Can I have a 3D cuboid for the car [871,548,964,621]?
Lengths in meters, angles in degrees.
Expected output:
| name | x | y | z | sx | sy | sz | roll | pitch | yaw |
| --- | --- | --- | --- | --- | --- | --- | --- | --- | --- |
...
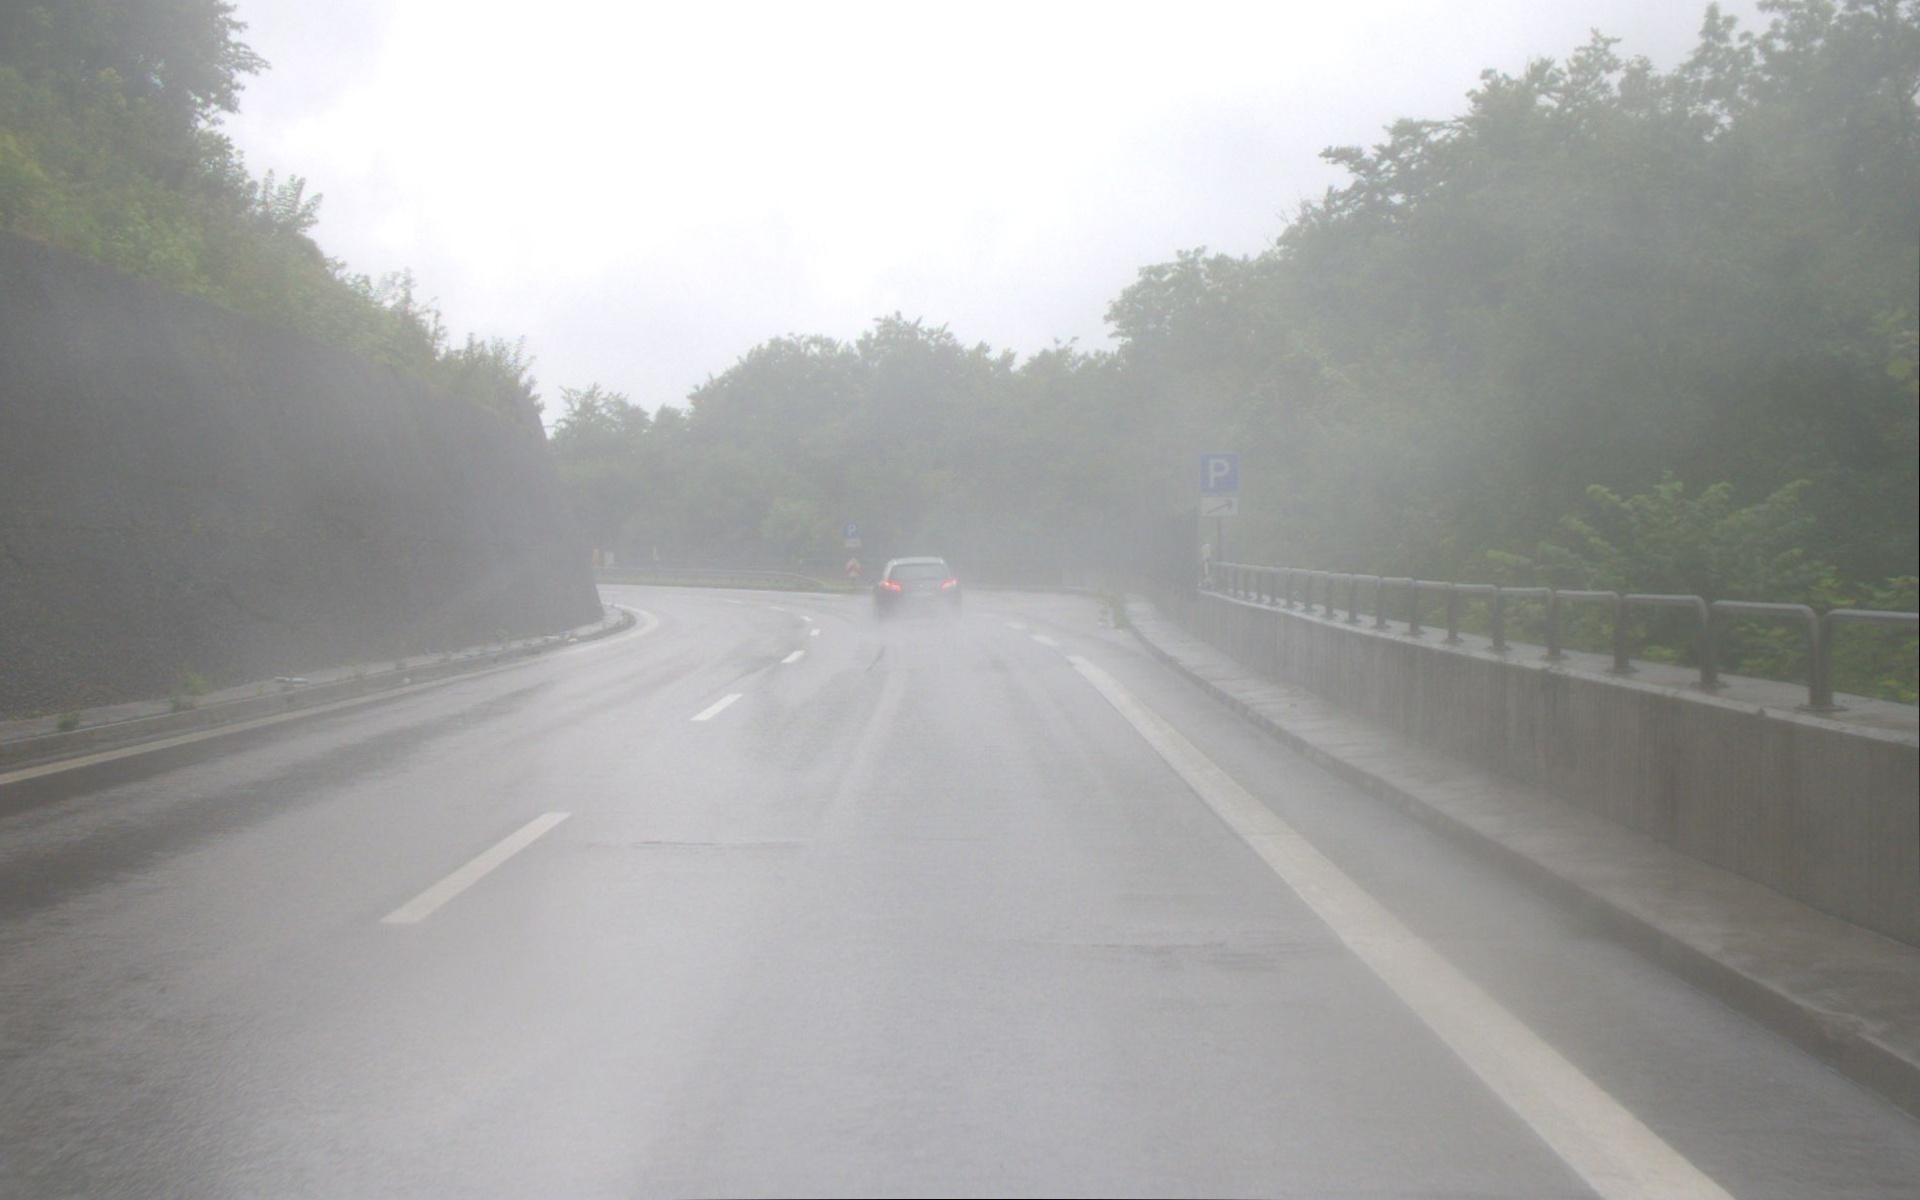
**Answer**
| name | x | y | z | sx | sy | sz | roll | pitch | yaw |
| --- | --- | --- | --- | --- | --- | --- | --- | --- | --- |
| car | -0.930 | -0.347 | 73.608 | 1.903 | 1.494 | 4.000 | 1 | 1 | -1 |
